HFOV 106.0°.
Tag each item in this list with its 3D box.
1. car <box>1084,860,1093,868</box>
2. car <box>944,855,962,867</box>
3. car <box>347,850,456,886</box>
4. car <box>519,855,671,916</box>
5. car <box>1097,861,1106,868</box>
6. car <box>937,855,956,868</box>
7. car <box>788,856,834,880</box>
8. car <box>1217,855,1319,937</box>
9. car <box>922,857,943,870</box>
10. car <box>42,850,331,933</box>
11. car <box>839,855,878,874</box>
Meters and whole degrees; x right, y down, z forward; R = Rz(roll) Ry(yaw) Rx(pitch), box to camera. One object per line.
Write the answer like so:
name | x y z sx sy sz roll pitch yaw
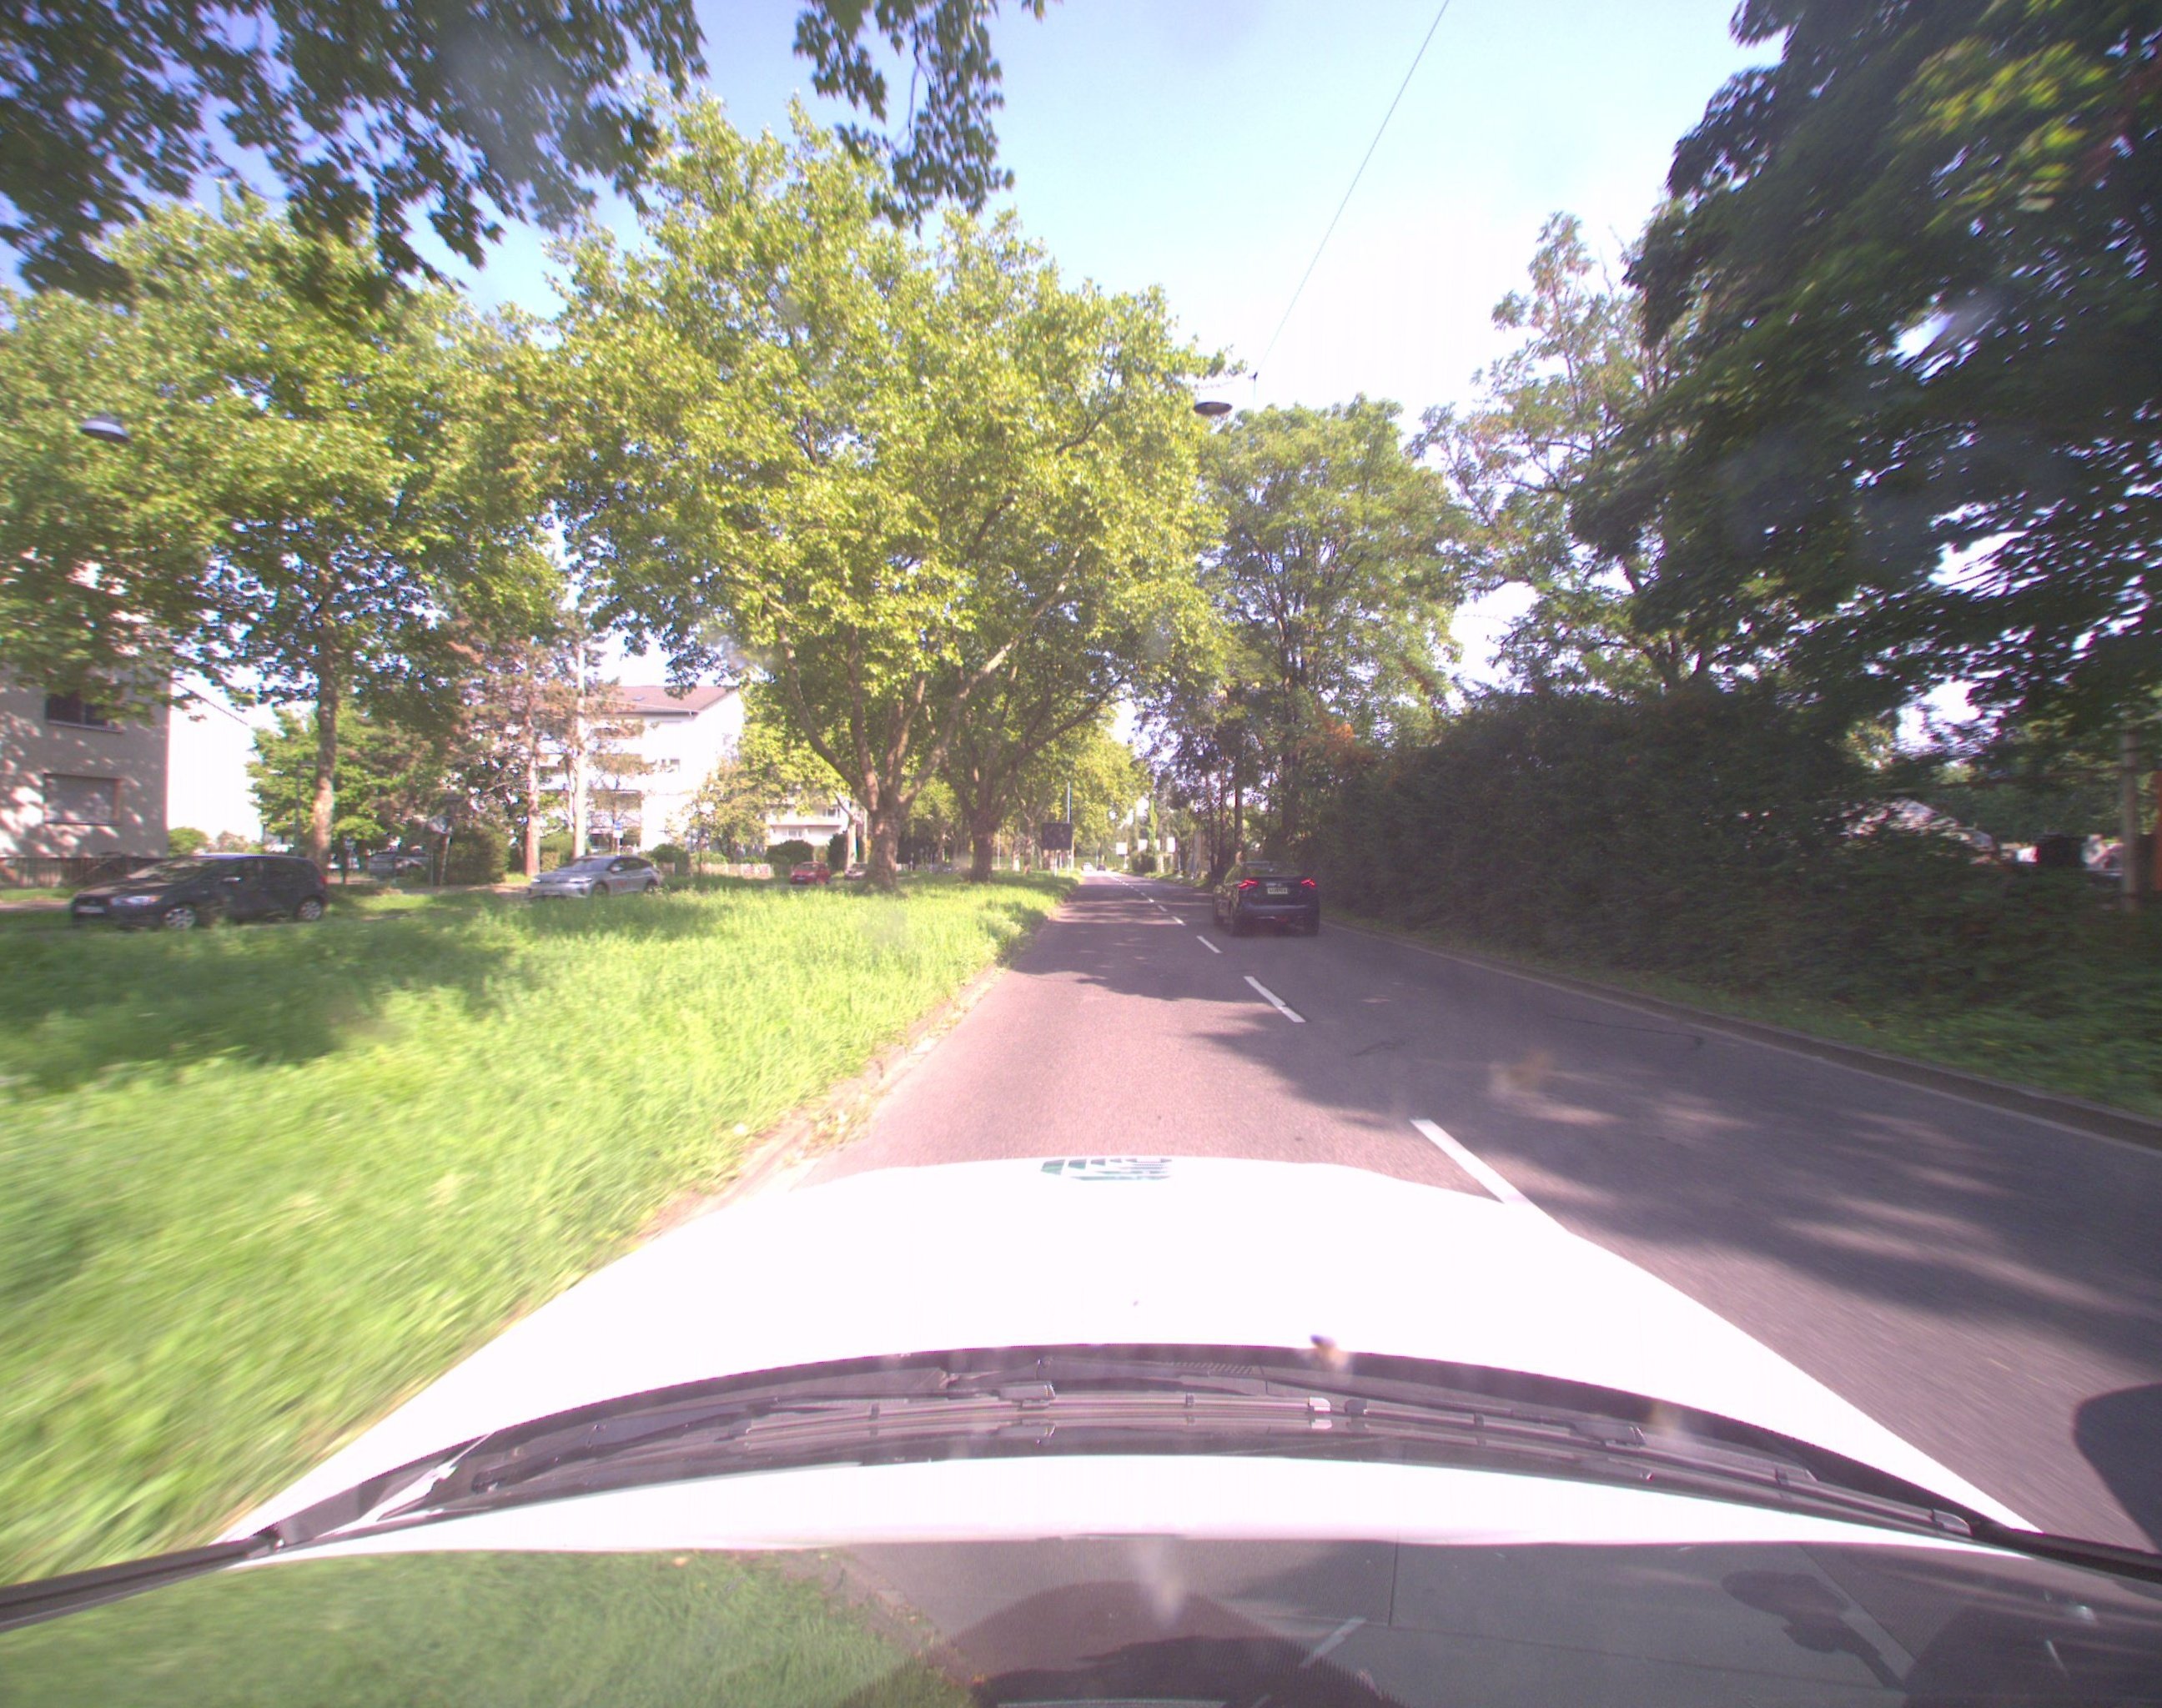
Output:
car | 1.443 1.951 158.380 1.681 1.462 4.000 1 -1 1
car | -17.842 0.991 113.848 1.693 1.732 4.659 1 -1 0
car | -34.241 0.709 41.201 4.016 1.772 1.979 1 -1 -35
car | -14.905 0.886 25.347 1.795 1.720 4.722 0 0 2
car | 4.197 2.252 168.233 1.792 1.401 3.998 1 -1 -1
car | -17.507 0.954 106.036 1.693 1.568 4.000 0 0 0
car | -17.465 0.894 52.863 1.533 1.451 4.065 1 -1 2
car | 4.004 0.847 18.062 1.637 1.588 4.260 0 -1 5
car | -17.742 1.117 97.442 1.693 1.508 4.540 0 0 0
car | -18.351 0.694 17.005 1.514 1.533 3.871 0 0 7
car | -17.585 0.786 64.617 1.795 1.430 4.066 1 0 2
